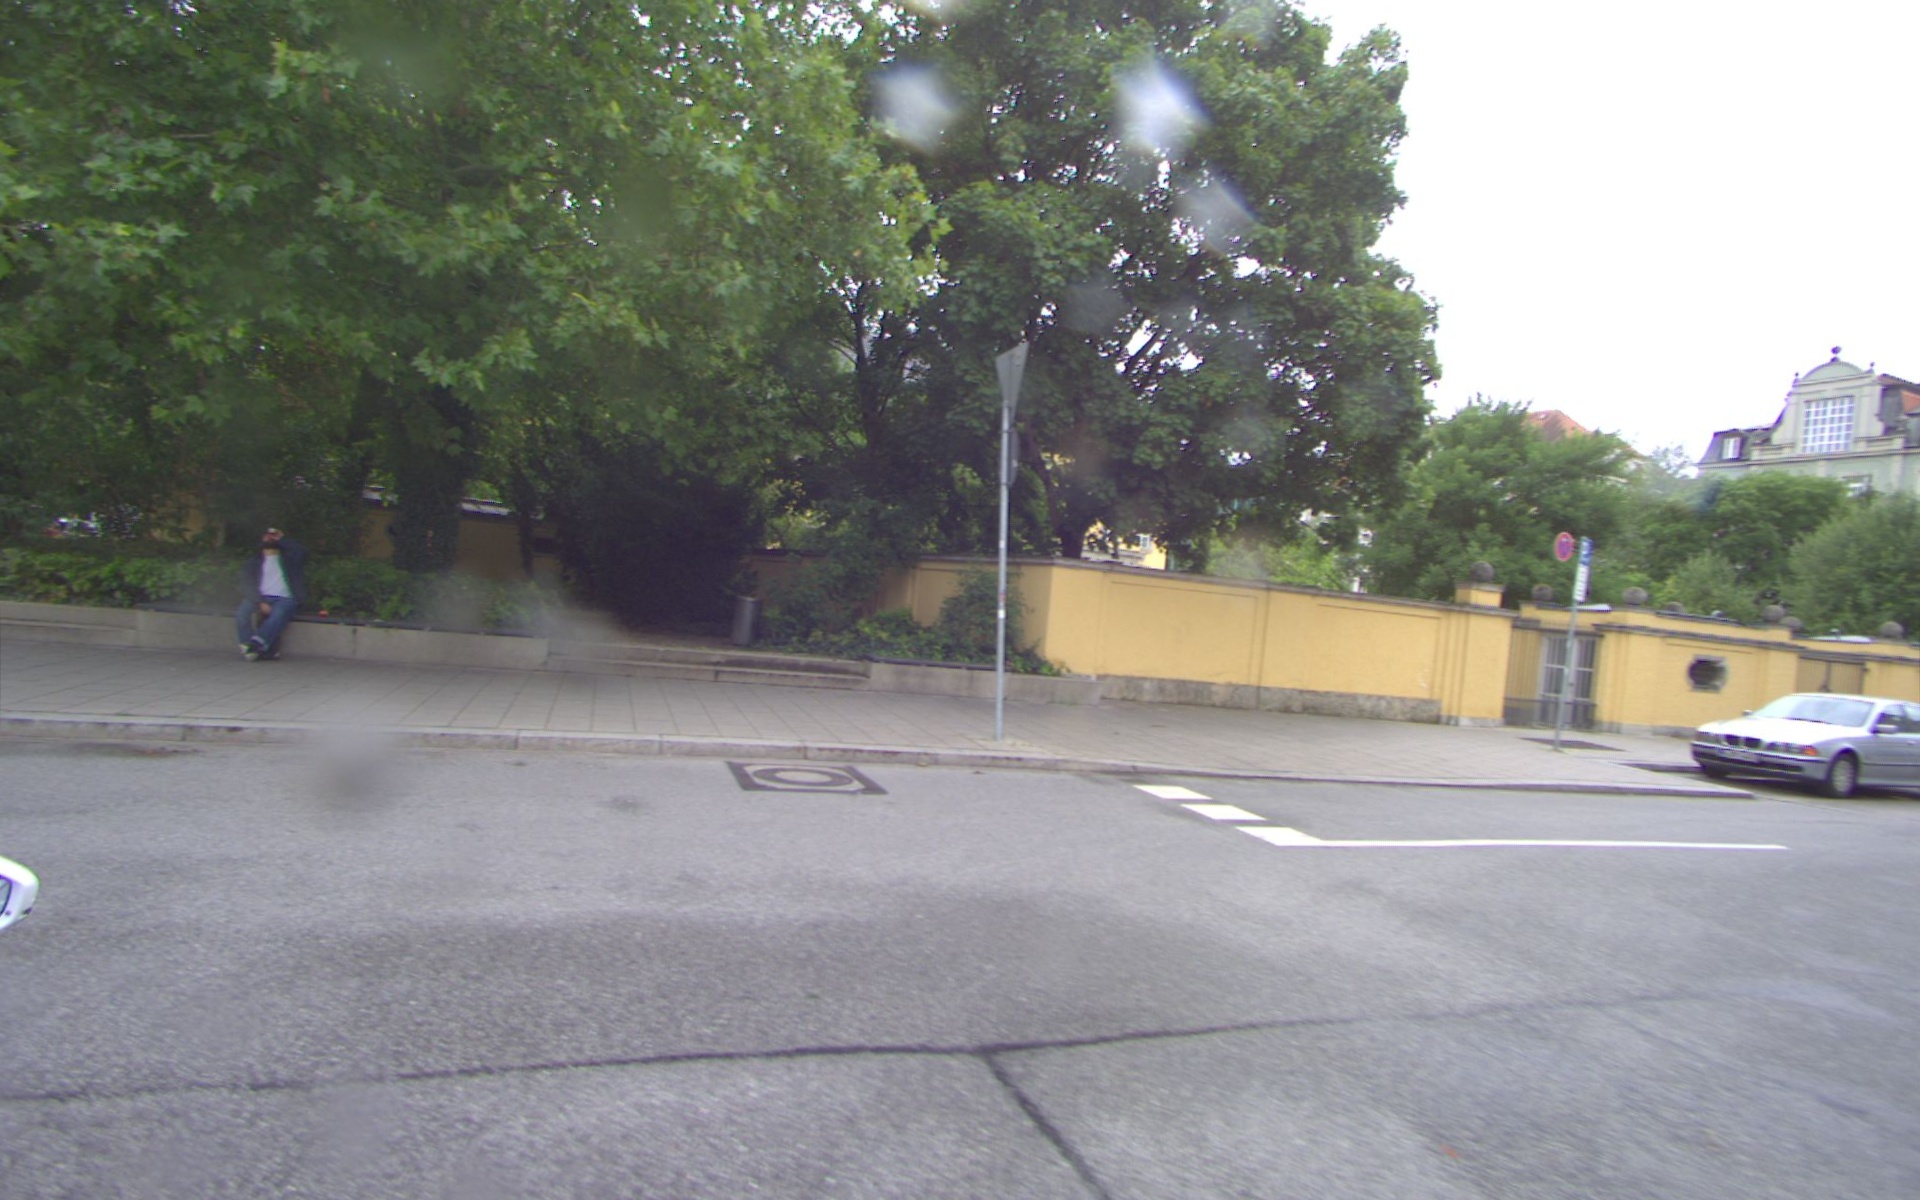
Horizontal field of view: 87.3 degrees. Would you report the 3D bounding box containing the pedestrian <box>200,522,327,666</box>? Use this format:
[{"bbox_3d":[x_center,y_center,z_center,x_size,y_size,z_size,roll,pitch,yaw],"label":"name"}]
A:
[{"bbox_3d":[-7.308,-0.067,10.610,0.760,1.374,1.126,5,1,-20],"label":"pedestrian"}]

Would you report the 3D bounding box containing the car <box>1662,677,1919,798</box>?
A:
[{"bbox_3d":[12.869,2.046,14.924,4.401,1.386,1.792,5,0,-21],"label":"car"}]

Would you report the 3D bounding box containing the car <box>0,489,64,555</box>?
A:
[{"bbox_3d":[-30.918,-2.542,32.574,1.896,1.961,4.929,5,0,-31],"label":"car"}]

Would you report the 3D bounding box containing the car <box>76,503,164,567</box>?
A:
[{"bbox_3d":[-38.429,-2.935,46.170,1.976,2.591,5.390,4,0,-29],"label":"car"}]

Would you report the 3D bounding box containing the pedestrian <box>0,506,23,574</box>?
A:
[{"bbox_3d":[-24.403,-1.533,25.631,0.687,1.689,0.632,6,2,38],"label":"pedestrian"}]

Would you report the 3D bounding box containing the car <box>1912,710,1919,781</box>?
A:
[{"bbox_3d":[18.262,2.451,16.854,3.901,1.566,1.787,5,1,-22],"label":"car"}]
